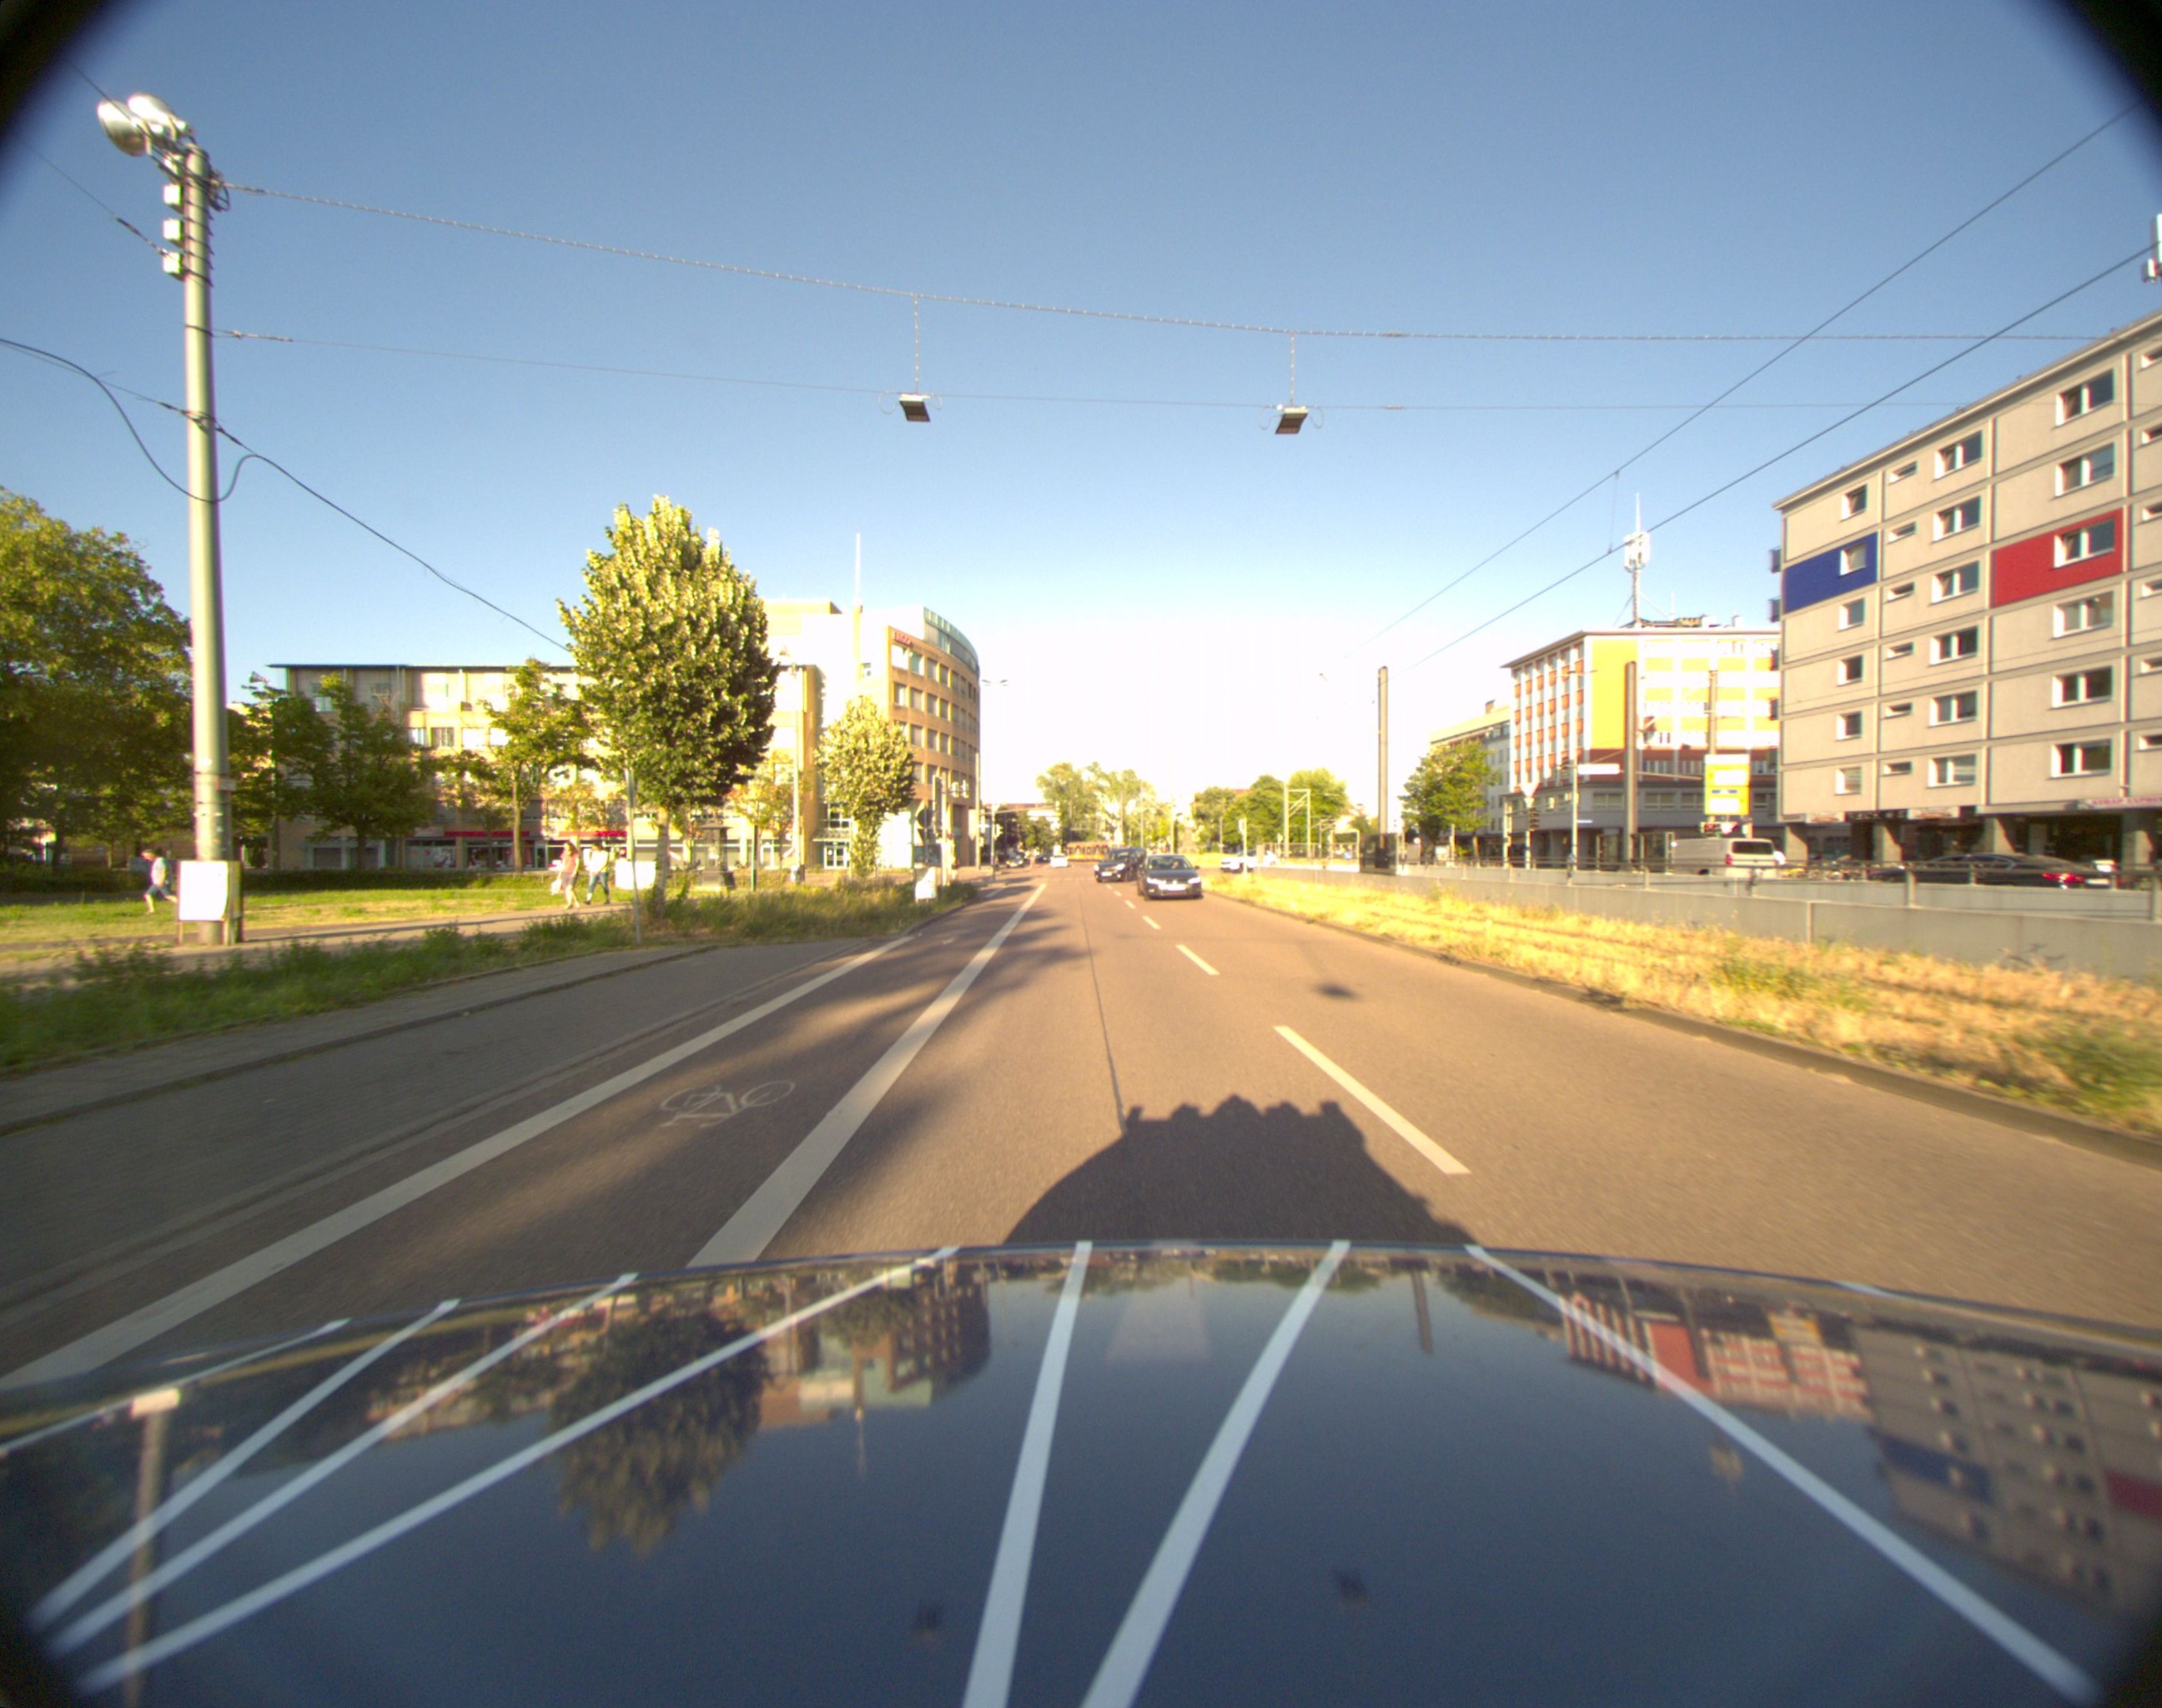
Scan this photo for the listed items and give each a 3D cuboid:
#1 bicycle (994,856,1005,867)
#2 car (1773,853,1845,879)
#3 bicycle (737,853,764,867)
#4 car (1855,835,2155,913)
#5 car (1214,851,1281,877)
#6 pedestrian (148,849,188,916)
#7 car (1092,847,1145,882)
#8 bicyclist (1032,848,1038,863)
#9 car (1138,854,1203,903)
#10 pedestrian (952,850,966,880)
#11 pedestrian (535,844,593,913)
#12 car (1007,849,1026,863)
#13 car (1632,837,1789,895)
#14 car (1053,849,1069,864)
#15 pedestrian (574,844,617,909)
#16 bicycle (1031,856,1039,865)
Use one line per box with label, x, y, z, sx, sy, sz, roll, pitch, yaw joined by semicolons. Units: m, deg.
bicycle;-7.834;0.716;72.742;0.700;1.044;1.979;-2;0;3
car;56.999;0.928;59.541;3.997;1.770;1.742;-2;1;0
bicycle;-30.206;0.558;69.448;0.862;1.230;2.091;-1;2;42
car;23.831;0.451;19.992;1.998;1.787;4.895;0;0;1
car;11.041;0.632;50.371;4.285;1.528;1.830;-1;1;-32
pedestrian;-23.965;0.727;19.946;0.594;1.729;0.644;0;1;38
car;2.008;0.497;39.793;1.767;1.722;4.152;0;0;17
bicyclist;-4.926;0.165;81.657;0.552;1.600;0.832;0;1;3
car;2.865;0.749;25.088;1.769;1.418;4.245;-1;0;2
pedestrian;-7.196;0.644;44.807;0.651;1.714;0.715;0;1;2
pedestrian;-12.828;0.603;18.884;0.740;1.640;0.916;3;0;4
car;-7.320;0.213;86.760;1.770;1.464;4.013;-2;1;-1
car;23.849;0.396;29.073;1.999;2.002;4.774;0;1;-1
car;-2.189;0.276;84.319;1.770;1.464;4.013;-2;1;-1
pedestrian;-13.039;0.592;20.423;0.599;1.679;0.782;2;0;4
bicycle;-4.924;0.688;81.584;0.608;0.923;1.777;0;0;3
